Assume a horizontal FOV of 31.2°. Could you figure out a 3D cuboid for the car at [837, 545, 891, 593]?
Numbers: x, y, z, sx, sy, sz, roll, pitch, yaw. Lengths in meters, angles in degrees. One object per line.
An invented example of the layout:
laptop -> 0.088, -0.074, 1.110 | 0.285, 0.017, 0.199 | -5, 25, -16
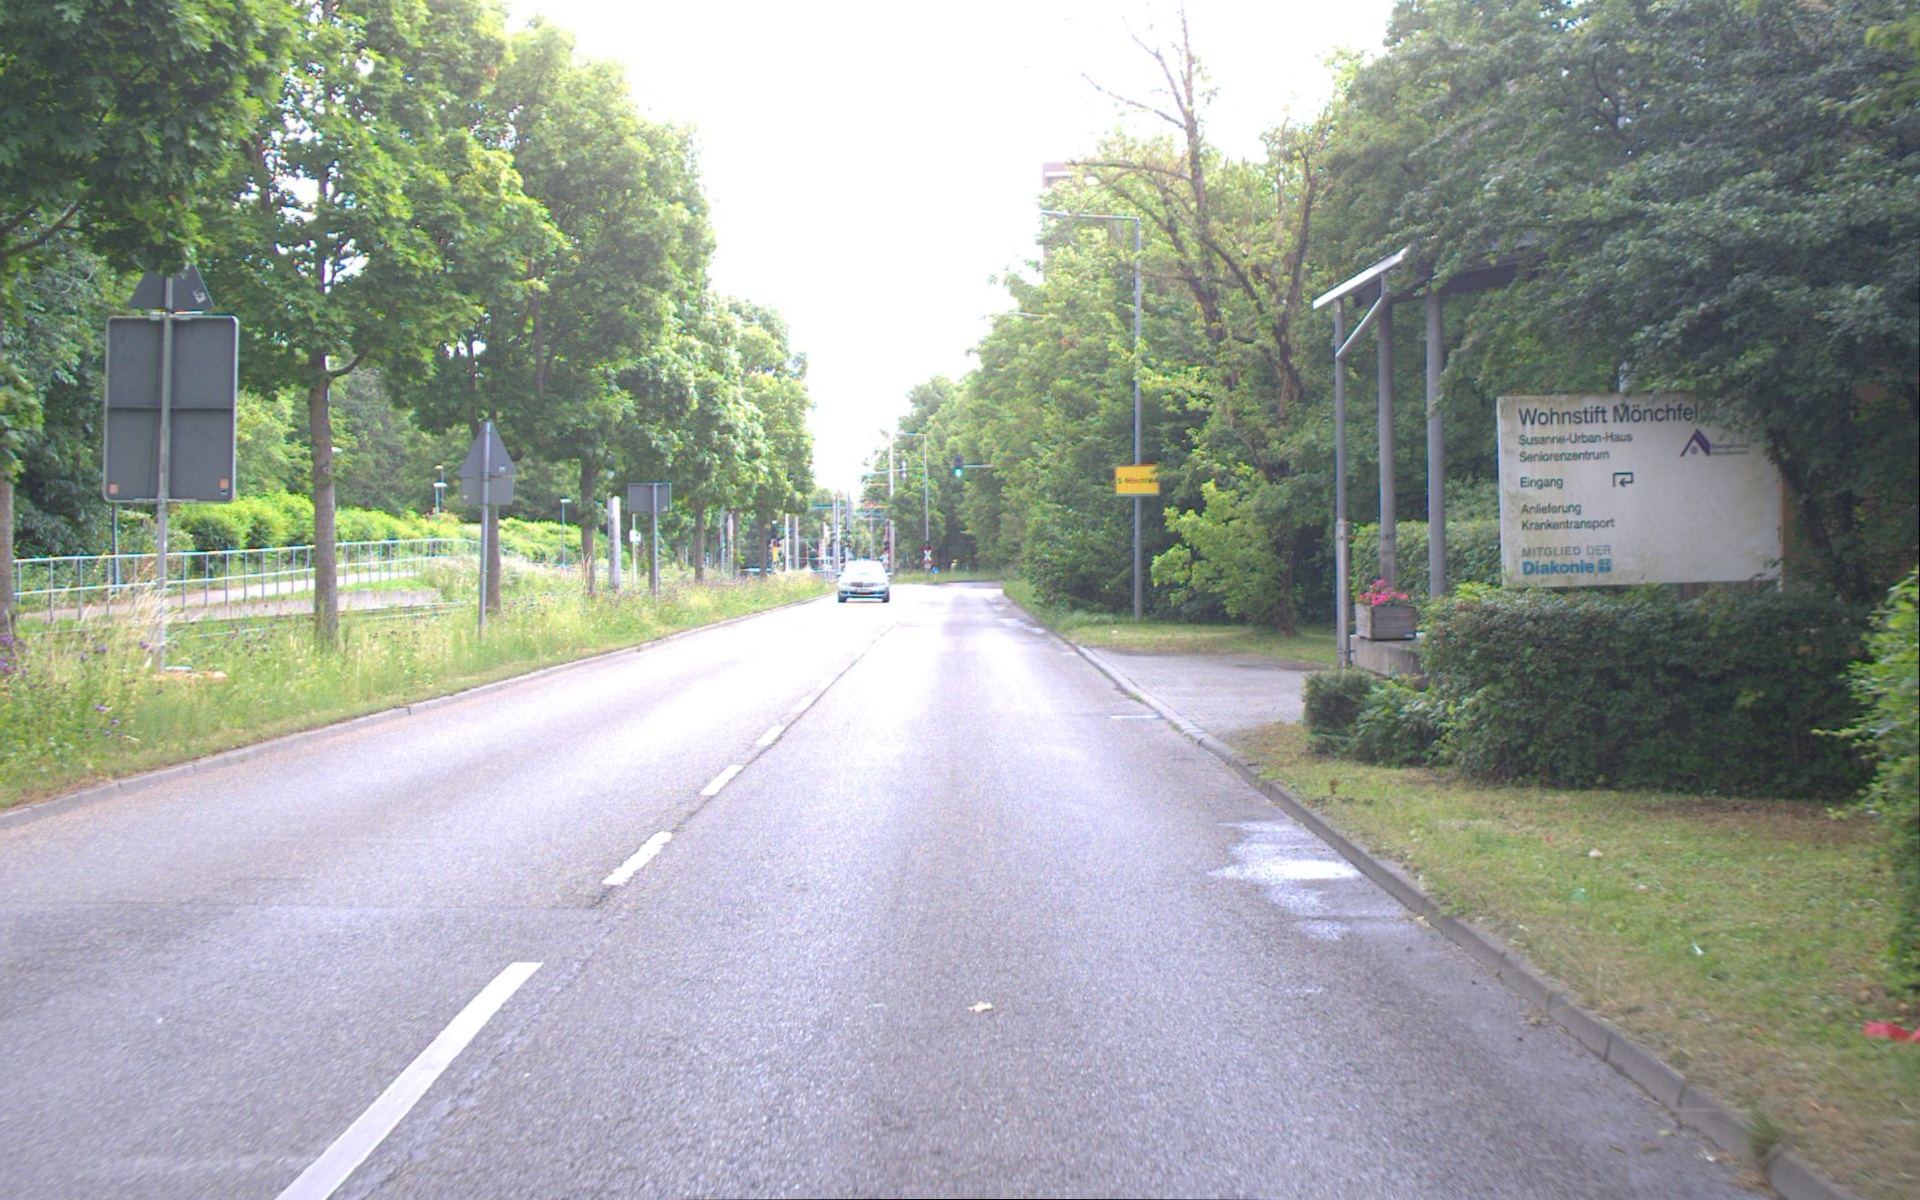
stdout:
car -> -3.376, -1.114, 121.813 | 1.716, 1.624, 4.000 | 2, 1, 0
